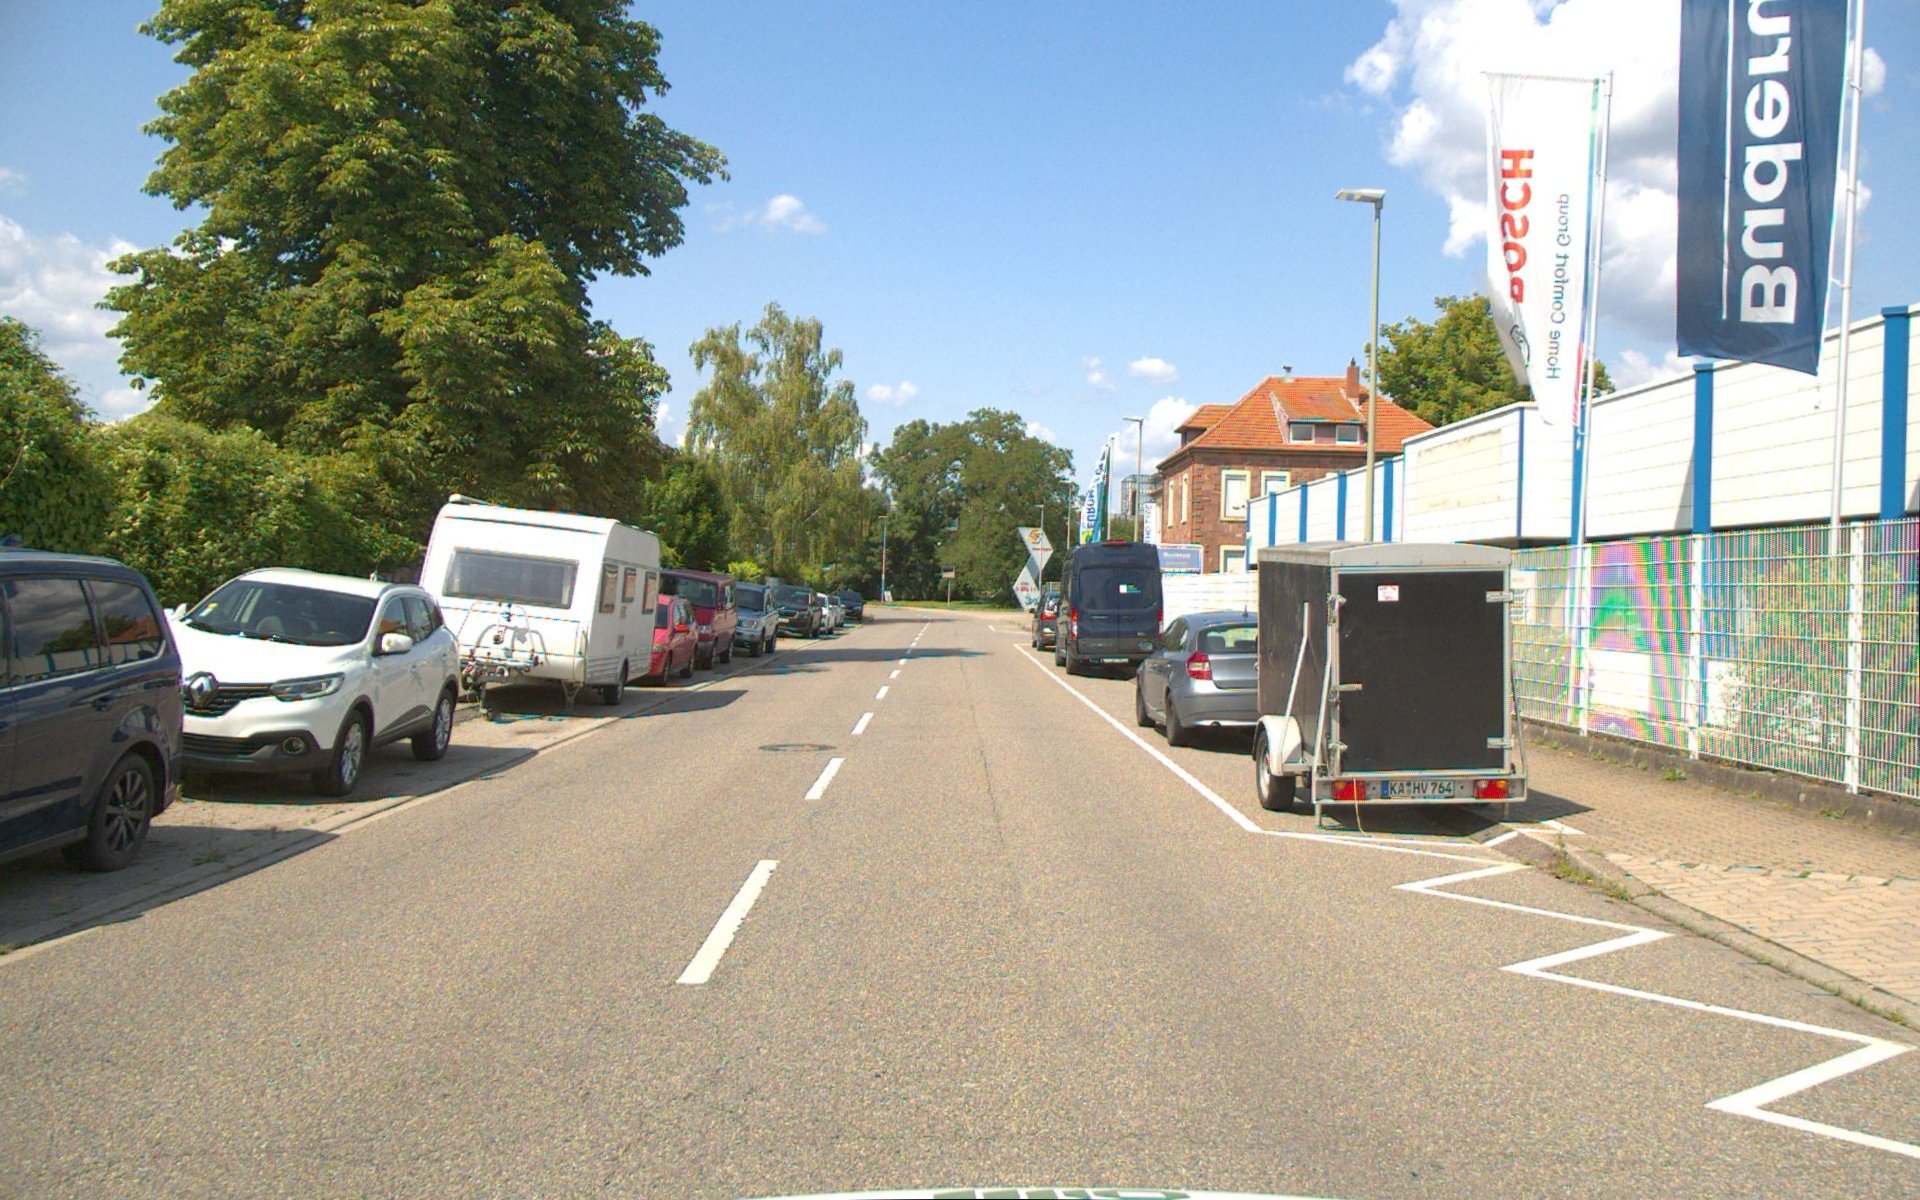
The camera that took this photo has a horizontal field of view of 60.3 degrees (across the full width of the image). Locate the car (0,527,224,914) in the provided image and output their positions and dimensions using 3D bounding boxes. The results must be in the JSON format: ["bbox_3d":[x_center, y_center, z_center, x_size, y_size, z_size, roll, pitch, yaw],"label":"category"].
[{"bbox_3d":[-5.421,0.555,7.826,1.790,1.824,4.734,1,0,-1],"label":"car"}]

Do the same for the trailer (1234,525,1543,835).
[{"bbox_3d":[3.165,0.548,12.703,1.569,2.073,2.740,2,0,-1],"label":"trailer"}]

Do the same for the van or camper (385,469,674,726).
[{"bbox_3d":[-5.675,-0.038,22.967,2.218,2.852,6.831,5,0,-2],"label":"van or camper"}]

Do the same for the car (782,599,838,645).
[{"bbox_3d":[-5.699,0.812,63.218,1.665,1.623,4.787,1,0,0],"label":"car"}]

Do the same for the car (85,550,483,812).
[{"bbox_3d":[-5.474,0.571,14.066,1.651,1.721,4.442,5,0,-4],"label":"car"}]

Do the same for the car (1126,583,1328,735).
[{"bbox_3d":[2.956,0.604,19.084,1.540,1.534,4.131,1,0,-2],"label":"car"}]

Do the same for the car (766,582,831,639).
[{"bbox_3d":[-5.465,0.318,56.466,1.577,1.775,4.637,3,0,1],"label":"car"}]

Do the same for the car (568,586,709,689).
[{"bbox_3d":[-5.685,0.623,29.727,1.592,1.558,4.268,5,0,0],"label":"car"}]

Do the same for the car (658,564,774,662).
[{"bbox_3d":[-5.730,0.298,39.429,1.860,1.987,4.957,7,0,-1],"label":"car"}]

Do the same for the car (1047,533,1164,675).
[{"bbox_3d":[3.093,0.071,36.459,1.898,2.796,6.153,2,0,-1],"label":"car"}]

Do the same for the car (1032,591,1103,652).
[{"bbox_3d":[3.109,0.580,48.654,1.787,1.693,4.556,1,0,0],"label":"car"}]
